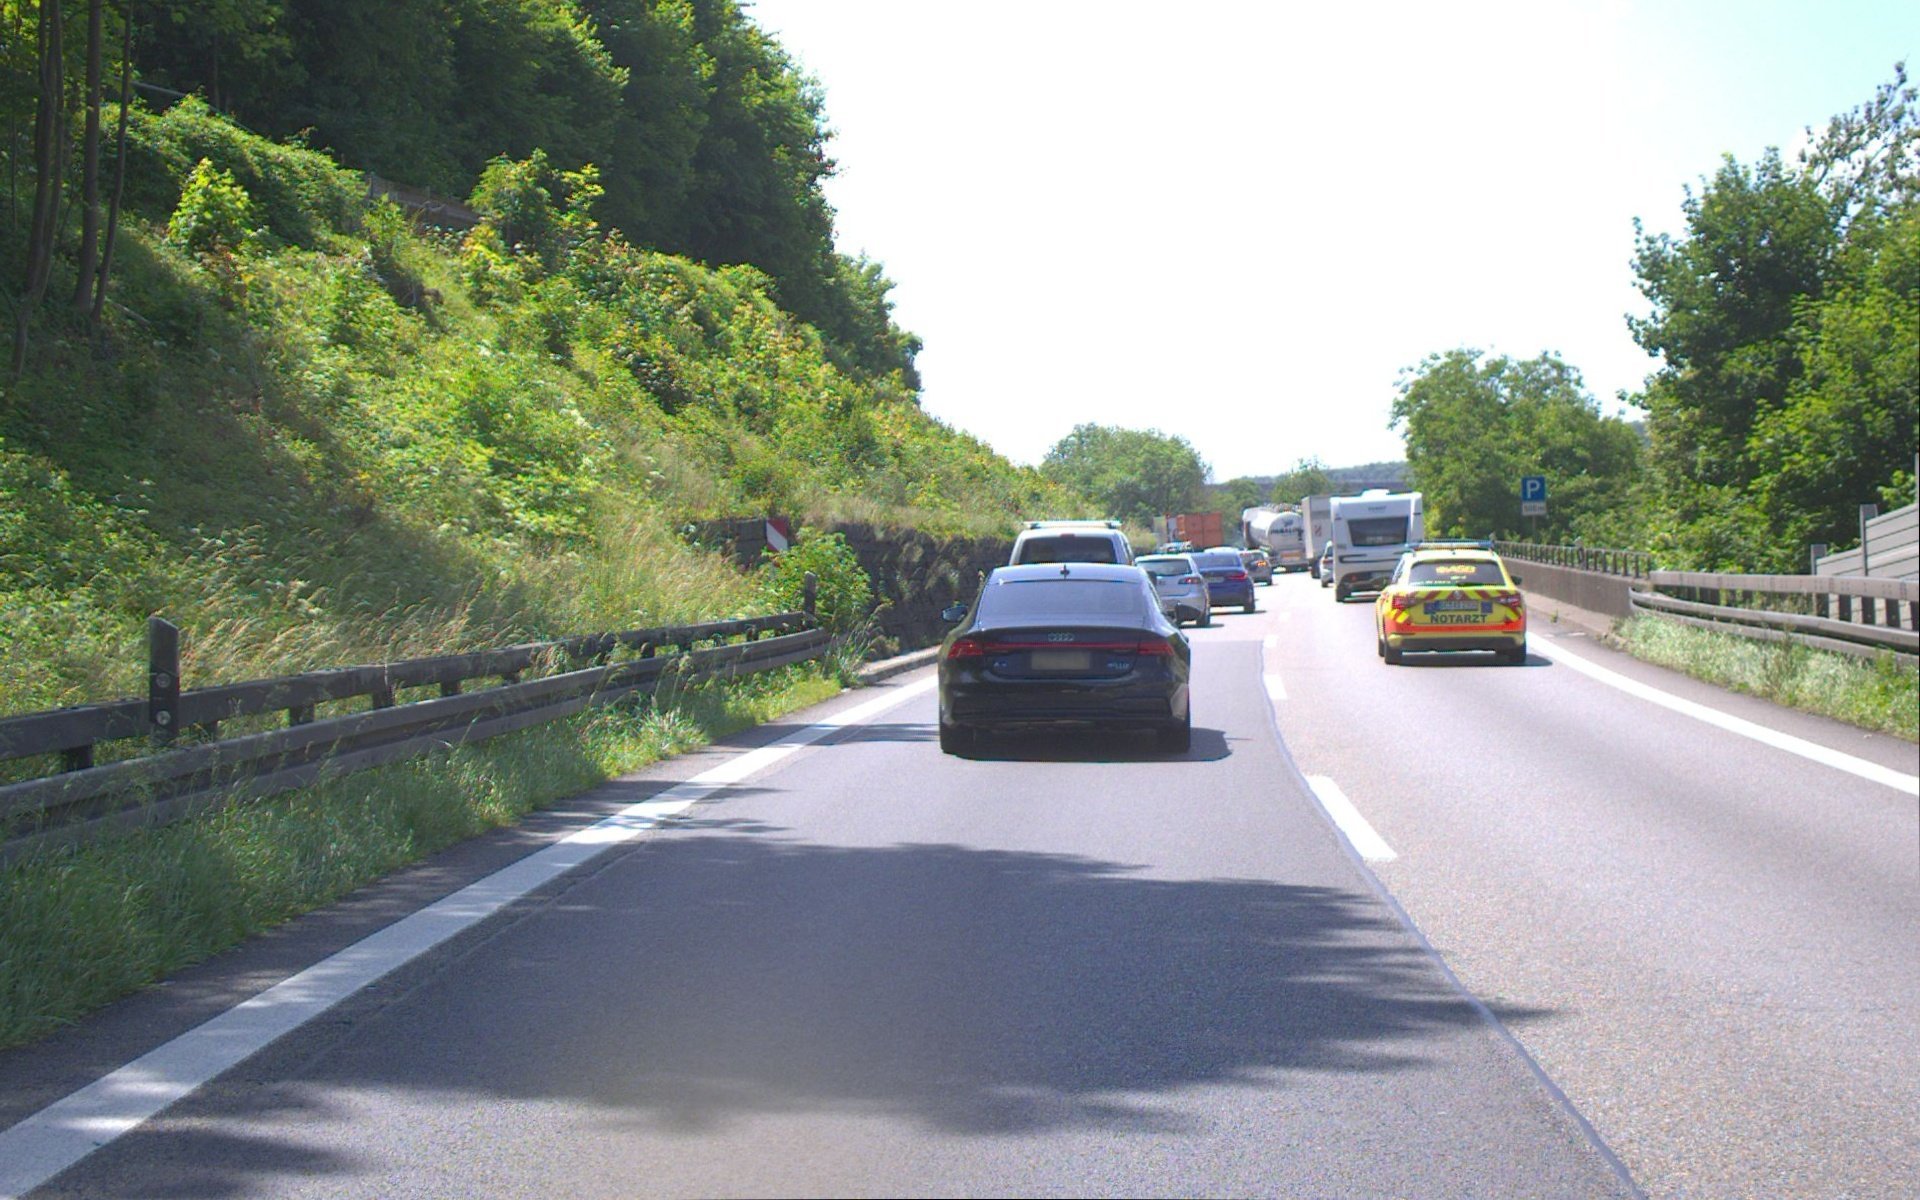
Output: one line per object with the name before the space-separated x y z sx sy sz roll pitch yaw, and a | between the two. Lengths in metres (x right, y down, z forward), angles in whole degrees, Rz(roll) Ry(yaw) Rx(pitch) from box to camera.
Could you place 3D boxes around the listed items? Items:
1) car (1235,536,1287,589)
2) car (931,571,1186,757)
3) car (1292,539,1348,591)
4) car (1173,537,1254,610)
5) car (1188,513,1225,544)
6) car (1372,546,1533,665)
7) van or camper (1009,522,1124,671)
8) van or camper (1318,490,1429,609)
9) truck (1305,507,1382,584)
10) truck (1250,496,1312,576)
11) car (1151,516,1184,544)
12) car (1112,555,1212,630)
car | 11.984 -1.481 136.874 1.994 2.057 3.999 0 0 6
car | 0.784 0.467 26.778 1.838 1.345 4.000 0 0 2
car | 12.231 -1.198 116.954 1.841 1.711 3.999 0 1 5
car | 5.837 -0.635 79.416 1.773 1.631 4.000 0 1 3
car | 16.635 -4.829 232.161 1.993 2.007 4.001 -1 1 -3
car | 6.375 0.071 44.858 1.863 1.483 3.999 0 0 5
van or camper | 1.353 -0.035 43.758 1.391 1.810 4.000 0 0 2
van or camper | 10.437 -1.231 87.224 2.456 2.908 6.125 0 0 4
truck | 16.117 -2.296 144.879 2.841 3.120 7.479 0 1 3
truck | 16.702 -3.314 179.272 2.733 4.082 7.480 0 1 1
car | 15.565 -5.246 257.846 1.993 2.007 4.001 -1 1 -3
car | 4.002 -0.129 67.631 1.747 1.426 3.999 0 0 7
